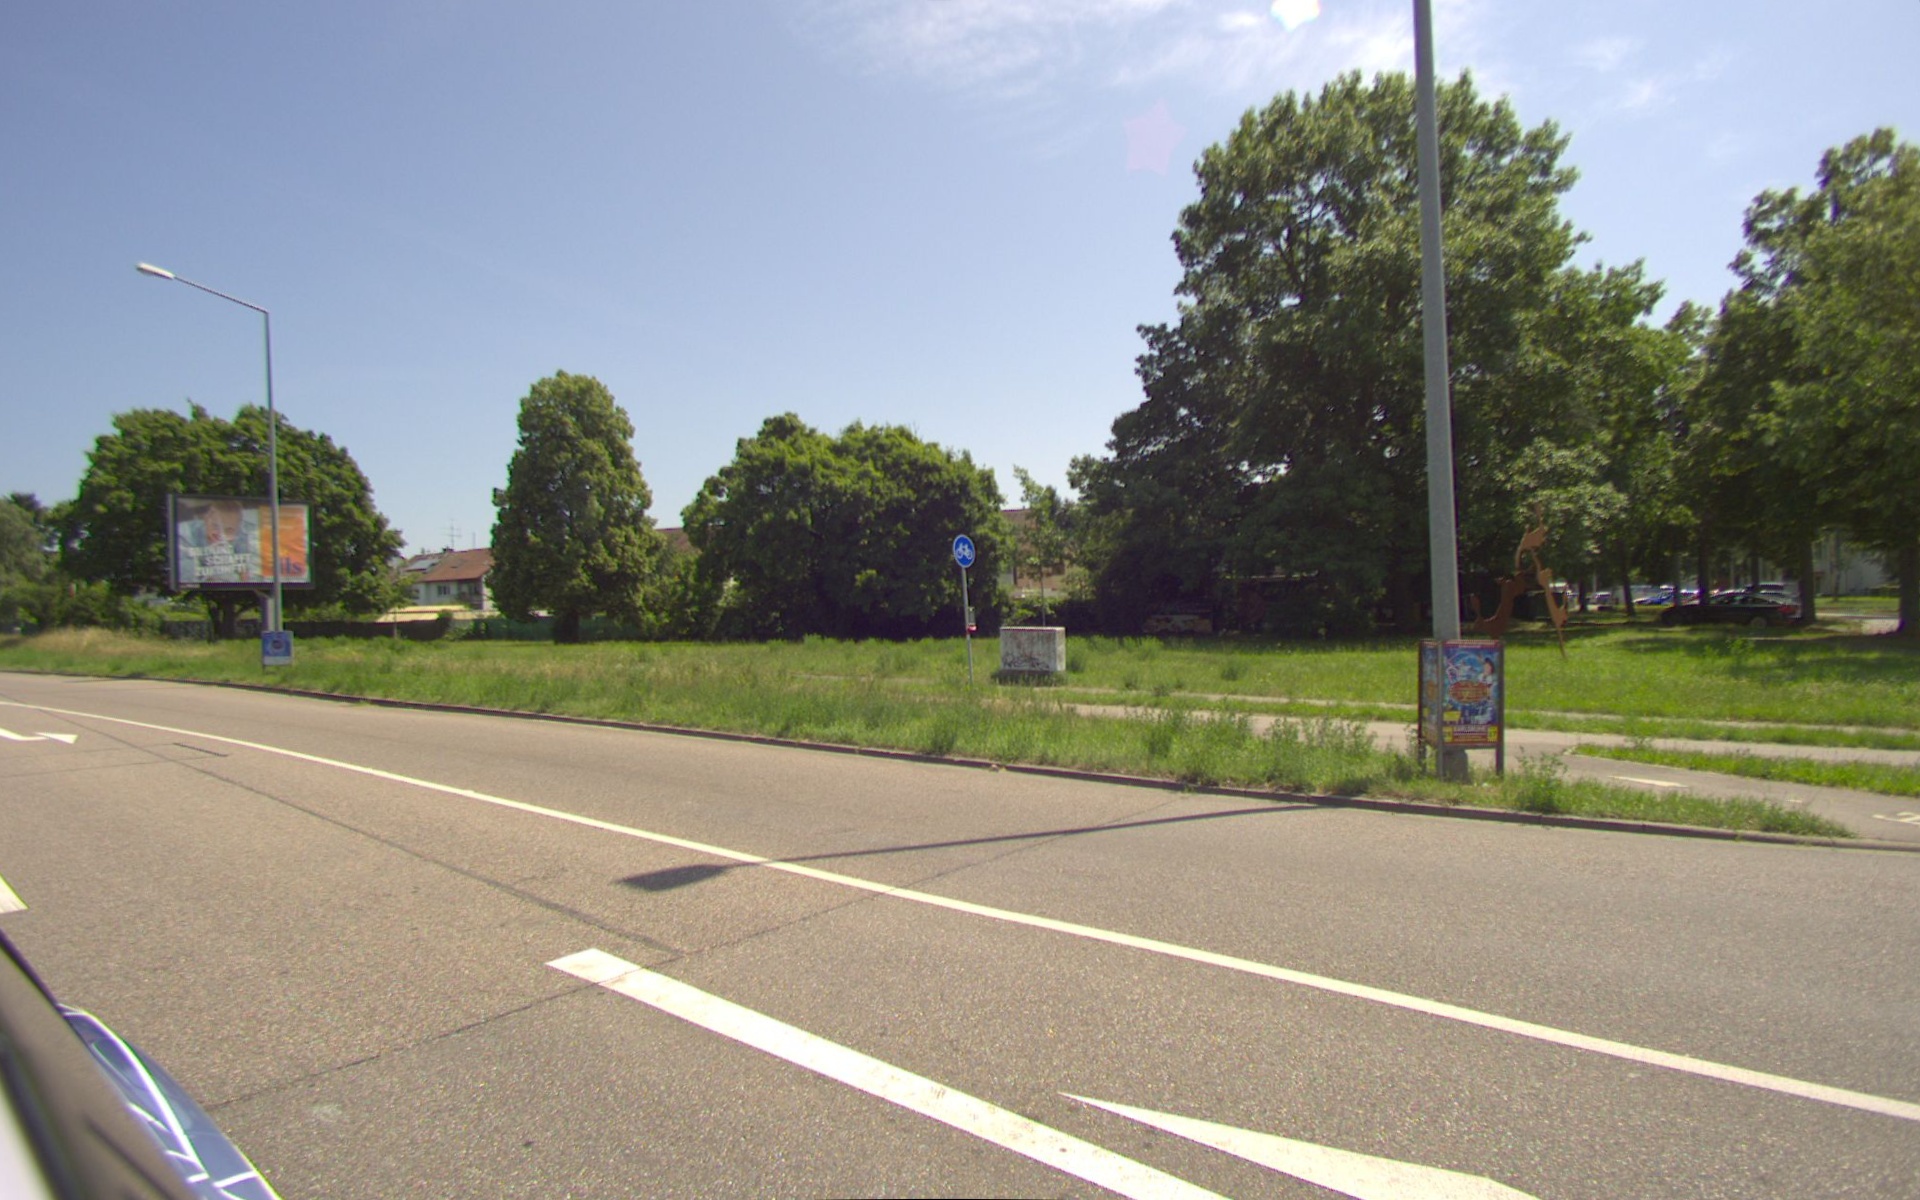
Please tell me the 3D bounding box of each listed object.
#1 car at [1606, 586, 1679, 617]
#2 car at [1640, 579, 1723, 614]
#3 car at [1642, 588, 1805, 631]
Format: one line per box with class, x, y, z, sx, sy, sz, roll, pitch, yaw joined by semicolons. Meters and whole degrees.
car;49.395;0.093;73.299;3.972;2.028;1.986;-2;2;22
car;47.197;-0.252;66.288;3.972;2.028;1.986;-2;2;22
car;29.552;0.400;39.310;1.966;1.479;4.597;-1;-2;-31
